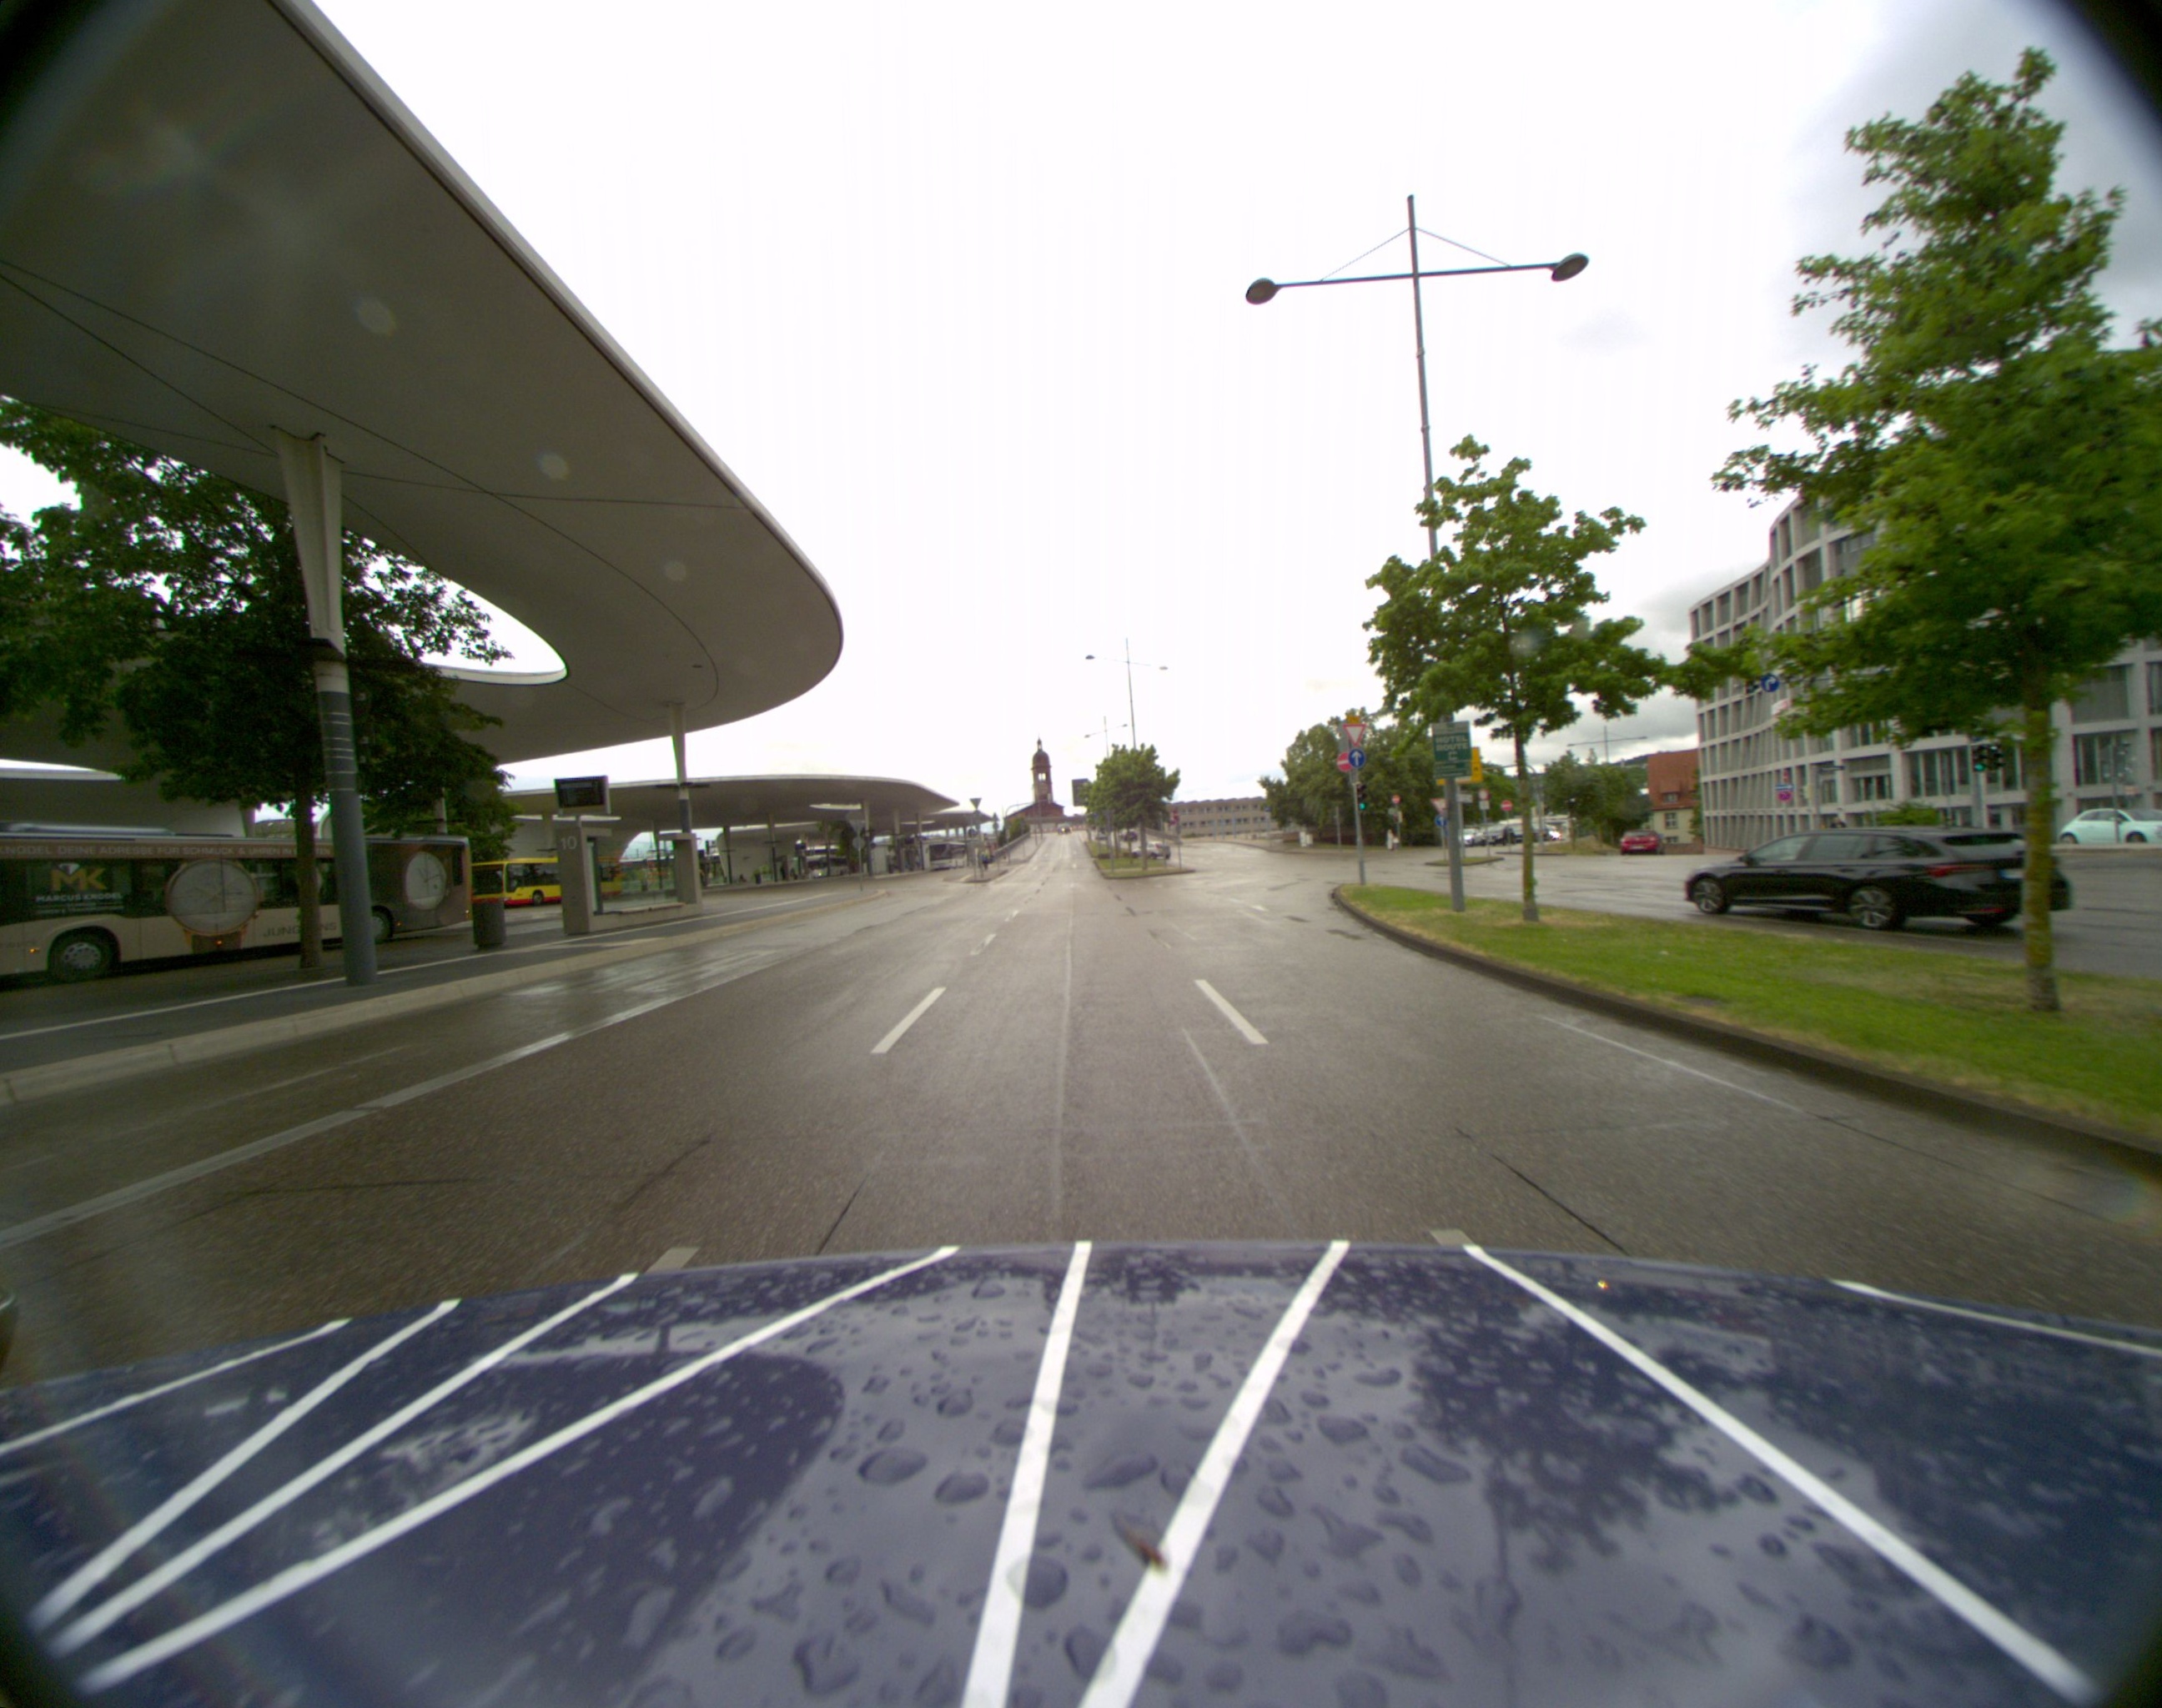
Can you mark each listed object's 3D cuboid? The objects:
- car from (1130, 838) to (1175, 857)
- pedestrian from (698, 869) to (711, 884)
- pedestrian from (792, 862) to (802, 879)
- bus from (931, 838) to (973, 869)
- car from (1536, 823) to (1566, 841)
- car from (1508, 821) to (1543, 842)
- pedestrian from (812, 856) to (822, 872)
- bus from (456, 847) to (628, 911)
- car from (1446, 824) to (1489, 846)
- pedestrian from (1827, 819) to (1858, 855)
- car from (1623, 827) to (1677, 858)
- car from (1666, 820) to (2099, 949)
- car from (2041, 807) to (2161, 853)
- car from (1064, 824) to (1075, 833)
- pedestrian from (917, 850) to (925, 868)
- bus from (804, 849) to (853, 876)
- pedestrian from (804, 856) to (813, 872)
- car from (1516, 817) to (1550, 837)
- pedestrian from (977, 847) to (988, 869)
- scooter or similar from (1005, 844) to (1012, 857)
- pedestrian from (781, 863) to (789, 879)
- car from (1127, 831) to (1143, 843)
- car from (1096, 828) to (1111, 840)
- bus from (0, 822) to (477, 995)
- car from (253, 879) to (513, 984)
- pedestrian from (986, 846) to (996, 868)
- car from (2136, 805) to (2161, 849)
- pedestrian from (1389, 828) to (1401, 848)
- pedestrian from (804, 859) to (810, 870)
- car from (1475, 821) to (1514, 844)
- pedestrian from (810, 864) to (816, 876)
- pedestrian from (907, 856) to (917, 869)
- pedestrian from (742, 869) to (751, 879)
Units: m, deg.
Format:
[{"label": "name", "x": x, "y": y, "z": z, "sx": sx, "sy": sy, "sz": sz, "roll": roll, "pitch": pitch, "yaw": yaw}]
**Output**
[{"label": "car", "x": 6.021, "y": -0.537, "z": 64.043, "sx": 1.640, "sy": 1.440, "sz": 3.866, "roll": -4, "pitch": 2, "yaw": -34}, {"label": "pedestrian", "x": -37.457, "y": 2.270, "z": 75.633, "sx": 0.711, "sy": 1.318, "sz": 0.801, "roll": -6, "pitch": 5, "yaw": 7}, {"label": "pedestrian", "x": -27.898, "y": 1.636, "z": 74.684, "sx": 0.590, "sy": 1.581, "sz": 0.677, "roll": -7, "pitch": 5, "yaw": -4}, {"label": "bus", "x": -15.034, "y": -0.058, "z": 89.590, "sx": 2.852, "sy": 3.342, "sz": 12.423, "roll": -1, "pitch": 0, "yaw": -1}, {"label": "car", "x": 45.946, "y": -2.194, "z": 74.241, "sx": 1.723, "sy": 1.559, "sz": 3.845, "roll": -2, "pitch": 2, "yaw": 42}, {"label": "car", "x": 36.787, "y": -1.899, "z": 62.878, "sx": 1.723, "sy": 1.559, "sz": 3.845, "roll": -2, "pitch": 2, "yaw": 42}, {"label": "pedestrian", "x": -27.667, "y": 1.095, "z": 79.643, "sx": 0.644, "sy": 1.645, "sz": 0.638, "roll": -4, "pitch": 2, "yaw": -40}, {"label": "bus", "x": -35.055, "y": 1.399, "z": 50.395, "sx": 2.796, "sy": 3.239, "sz": 12.133, "roll": -4, "pitch": 2, "yaw": -2}, {"label": "car", "x": 31.236, "y": -1.550, "z": 61.363, "sx": 1.882, "sy": 1.559, "sz": 4.148, "roll": -2, "pitch": 2, "yaw": 44}, {"label": "pedestrian", "x": 34.600, "y": -0.771, "z": 34.542, "sx": 0.673, "sy": 1.574, "sz": 0.705, "roll": -4, "pitch": 2, "yaw": -2}, {"label": "car", "x": 32.054, "y": -0.670, "z": 42.771, "sx": 4.040, "sy": 1.543, "sz": 1.823, "roll": -4, "pitch": 1, "yaw": -44}, {"label": "car", "x": 11.786, "y": 0.350, "z": 11.783, "sx": 1.685, "sy": 1.519, "sz": 4.637, "roll": -3, "pitch": 1, "yaw": -2}, {"label": "car", "x": 36.854, "y": -0.877, "z": 26.956, "sx": 1.630, "sy": 1.487, "sz": 3.585, "roll": -3, "pitch": 1, "yaw": 15}, {"label": "car", "x": -2.233, "y": -4.959, "z": 147.632, "sx": 1.852, "sy": 1.643, "sz": 4.417, "roll": -3, "pitch": 1, "yaw": -3}, {"label": "pedestrian", "x": -16.939, "y": 0.523, "z": 80.614, "sx": 0.585, "sy": 1.875, "sz": 0.649, "roll": -1, "pitch": -1, "yaw": 10}, {"label": "bus", "x": -35.471, "y": 1.145, "z": 107.410, "sx": 2.795, "sy": 3.239, "sz": 12.137, "roll": -4, "pitch": 1, "yaw": 0}, {"label": "pedestrian", "x": -28.225, "y": 1.064, "z": 78.603, "sx": 0.570, "sy": 1.645, "sz": 0.557, "roll": -3, "pitch": 1, "yaw": 5}, {"label": "car", "x": 39.611, "y": -2.386, "z": 66.572, "sx": 1.723, "sy": 1.559, "sz": 3.845, "roll": -2, "pitch": 2, "yaw": 42}, {"label": "pedestrian", "x": -7.723, "y": 0.299, "z": 59.761, "sx": 0.590, "sy": 1.662, "sz": 0.580, "roll": -6, "pitch": 6, "yaw": -1}, {"label": "scooter or similar", "x": -7.211, "y": -0.389, "z": 75.708, "sx": 0.465, "sy": 1.214, "sz": 1.859, "roll": -4, "pitch": 1, "yaw": -1}, {"label": "pedestrian", "x": -28.300, "y": 1.618, "z": 72.739, "sx": 0.522, "sy": 1.494, "sz": 0.381, "roll": -5, "pitch": 2, "yaw": -40}, {"label": "car", "x": 7.288, "y": -2.248, "z": 103.480, "sx": 1.852, "sy": 1.495, "sz": 4.918, "roll": -3, "pitch": 1, "yaw": 1}, {"label": "car", "x": 3.293, "y": -2.915, "z": 111.616, "sx": 1.852, "sy": 1.643, "sz": 4.417, "roll": -3, "pitch": 1, "yaw": -3}, {"label": "bus", "x": -20.264, "y": 0.960, "z": 17.631, "sx": 2.728, "sy": 3.026, "sz": 12.086, "roll": -3, "pitch": 1, "yaw": 0}, {"label": "car", "x": -12.254, "y": 1.285, "z": 13.645, "sx": 1.651, "sy": 1.444, "sz": 3.237, "roll": -4, "pitch": 0, "yaw": -2}, {"label": "pedestrian", "x": -7.069, "y": 0.255, "z": 59.576, "sx": 0.524, "sy": 1.662, "sz": 0.580, "roll": -5, "pitch": 4, "yaw": -1}, {"label": "car", "x": 38.172, "y": -0.943, "z": 25.309, "sx": 1.630, "sy": 1.487, "sz": 3.585, "roll": -3, "pitch": 1, "yaw": 15}, {"label": "pedestrian", "x": 24.563, "y": -1.267, "z": 59.421, "sx": 0.653, "sy": 1.562, "sz": 0.631, "roll": -2, "pitch": 4, "yaw": 4}, {"label": "pedestrian", "x": -27.855, "y": 1.045, "z": 77.178, "sx": 0.391, "sy": 1.075, "sz": 0.352, "roll": -2, "pitch": 2, "yaw": 41}, {"label": "car", "x": 31.804, "y": -1.645, "z": 58.382, "sx": 1.723, "sy": 1.559, "sz": 3.845, "roll": -2, "pitch": 2, "yaw": 42}, {"label": "pedestrian", "x": -27.232, "y": 1.642, "z": 77.283, "sx": 0.395, "sy": 1.138, "sz": 0.364, "roll": -2, "pitch": 2, "yaw": 41}, {"label": "pedestrian", "x": -17.750, "y": 0.890, "z": 79.832, "sx": 0.954, "sy": 1.247, "sz": 0.648, "roll": -1, "pitch": -1, "yaw": -24}, {"label": "pedestrian", "x": -48.597, "y": 2.919, "z": 110.475, "sx": 0.800, "sy": 1.318, "sz": 0.711, "roll": -7, "pitch": 5, "yaw": 5}]
